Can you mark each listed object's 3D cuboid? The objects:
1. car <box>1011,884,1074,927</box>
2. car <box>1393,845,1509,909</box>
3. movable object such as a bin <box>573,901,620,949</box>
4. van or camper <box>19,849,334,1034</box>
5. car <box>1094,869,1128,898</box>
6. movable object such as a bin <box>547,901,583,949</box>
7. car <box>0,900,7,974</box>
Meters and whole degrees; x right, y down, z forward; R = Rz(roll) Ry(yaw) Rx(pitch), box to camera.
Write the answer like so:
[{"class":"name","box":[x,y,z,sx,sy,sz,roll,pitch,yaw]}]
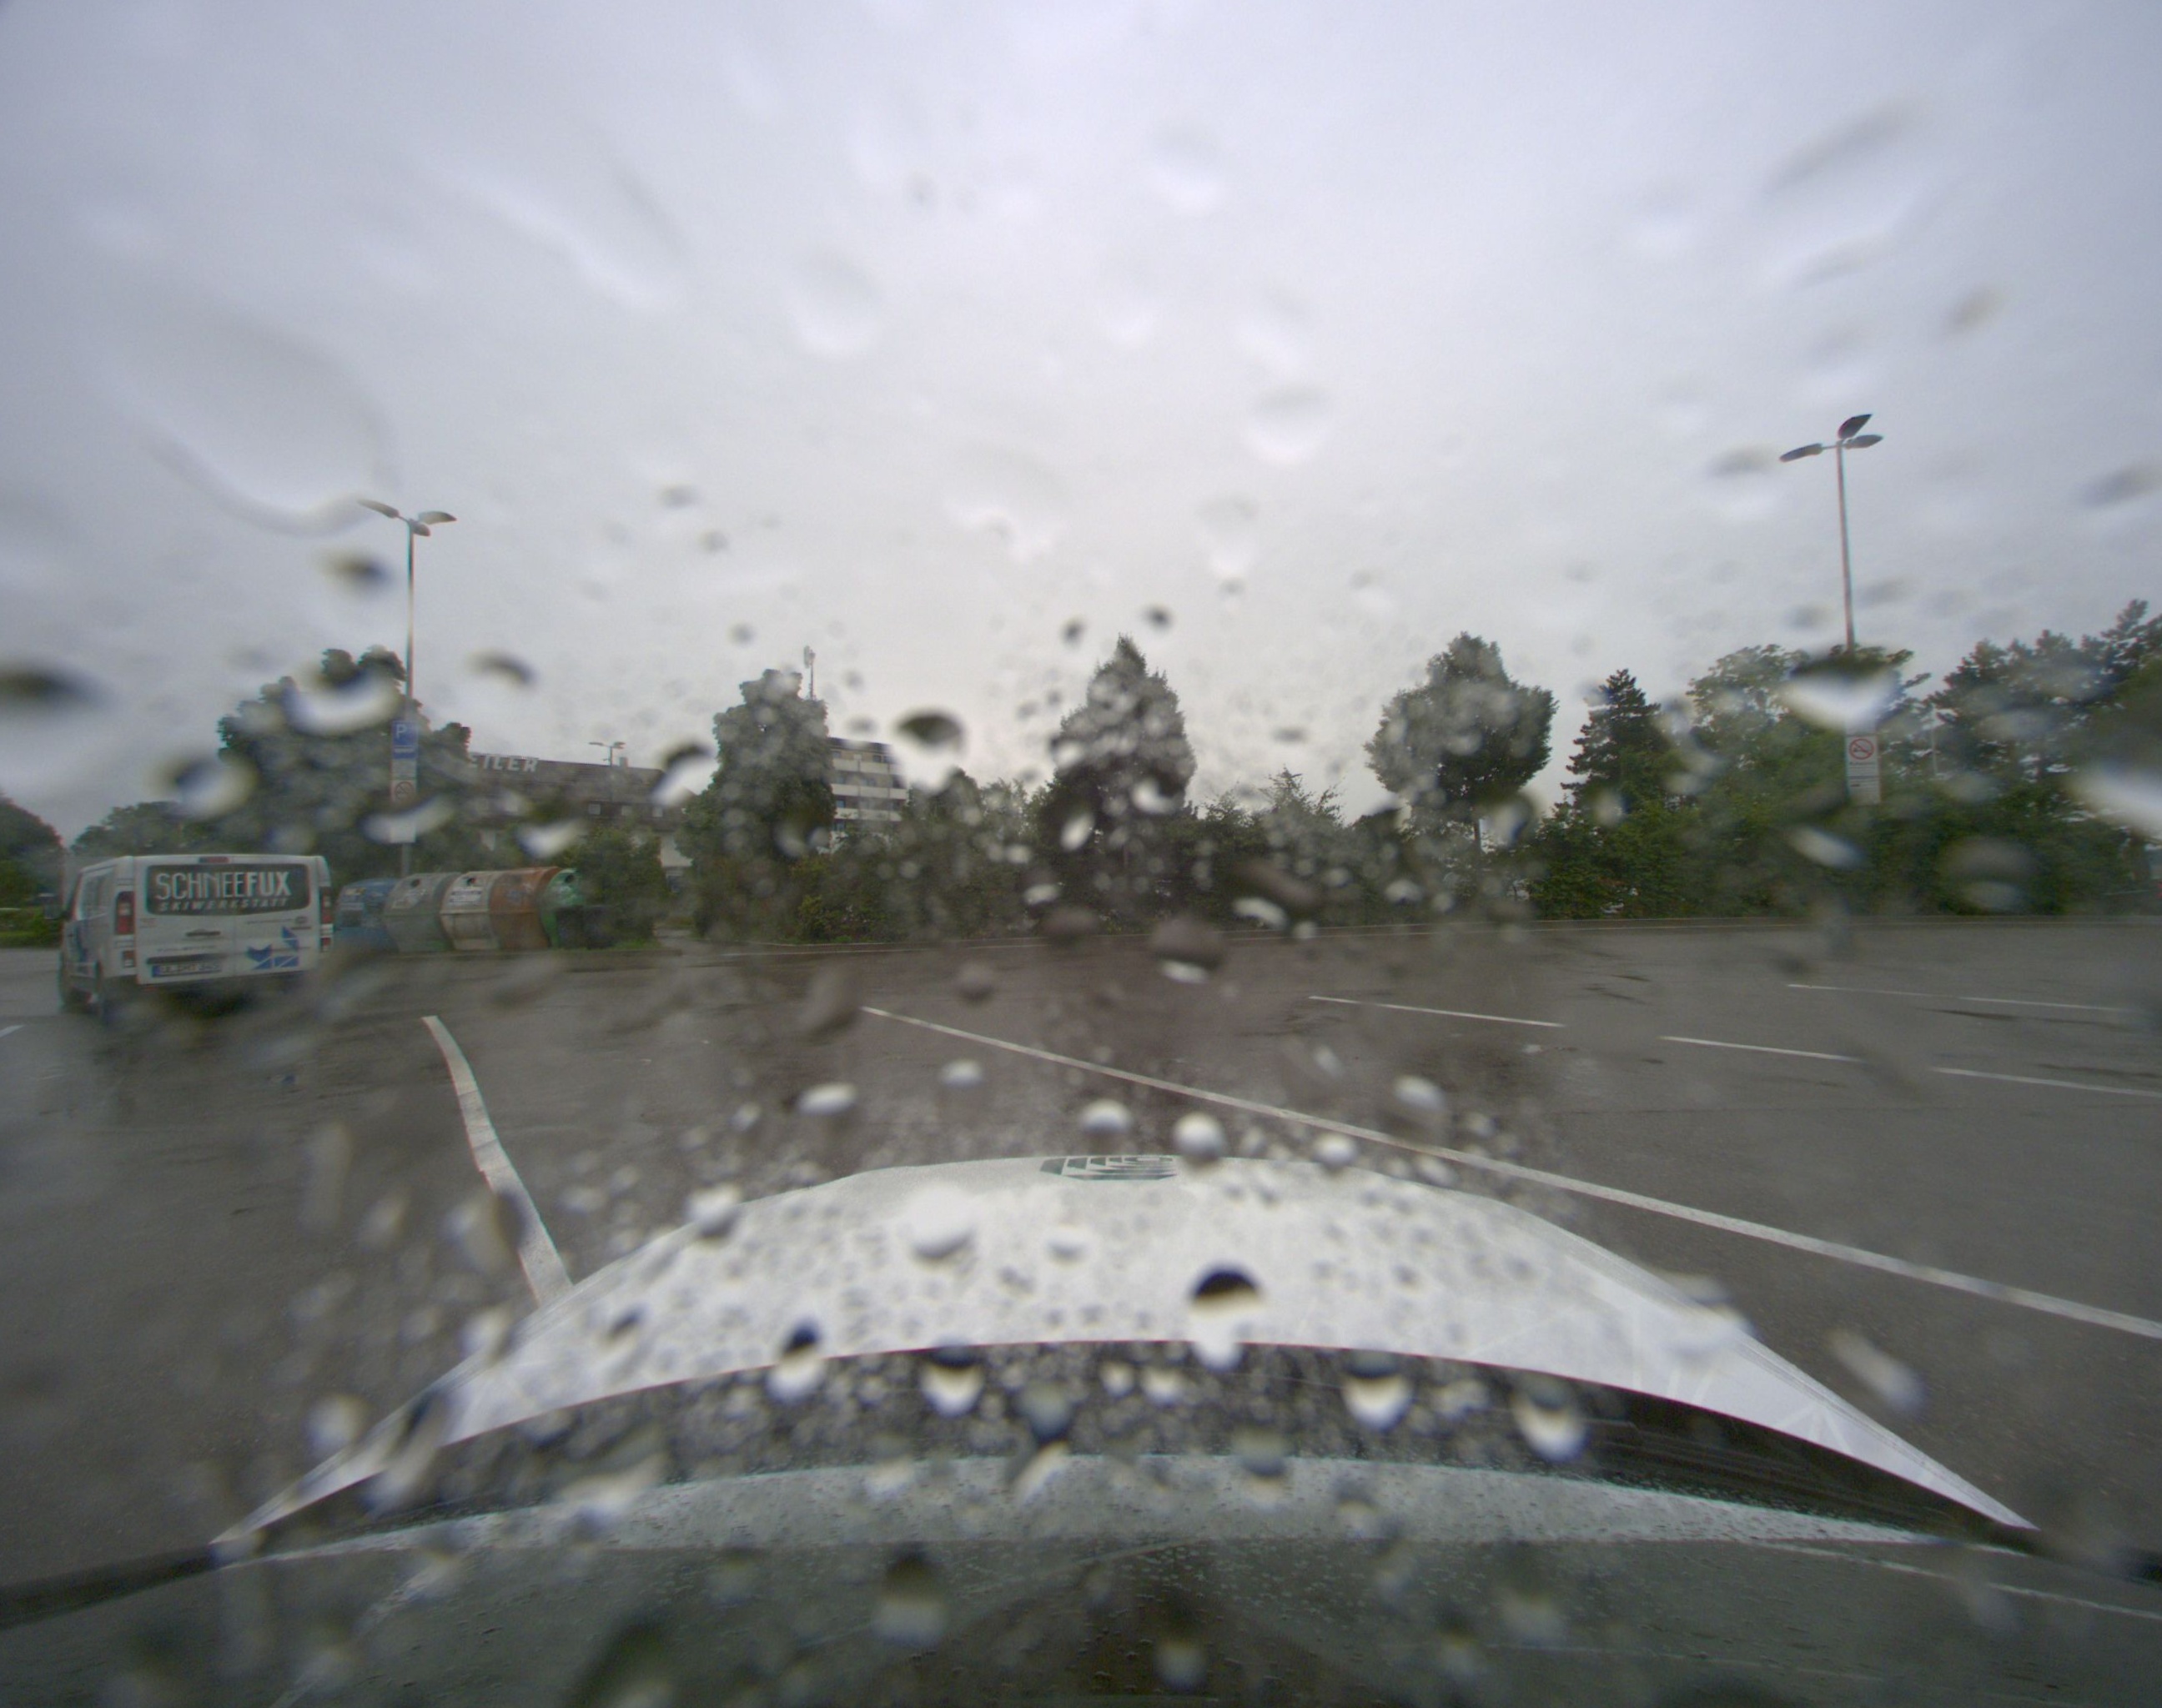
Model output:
[{"class":"car","box":[-1.456,2.002,32.675,1.871,1.472,4.774,-2,-2,5]},{"class":"car","box":[10.713,0.674,23.908,1.772,1.628,4.099,-2,-2,5]},{"class":"movable object such as a bin","box":[-9.650,1.402,16.230,0.549,0.920,0.634,-3,-2,36]},{"class":"van or camper","box":[-12.236,1.002,10.920,5.129,1.945,2.209,-2,-2,35]},{"class":"car","box":[1.934,1.818,51.296,1.784,1.693,4.056,-2,-2,7]},{"class":"movable object such as a bin","box":[-10.454,1.426,16.509,0.411,0.920,0.498,-3,-2,36]},{"class":"car","box":[-21.279,1.583,13.704,1.778,1.433,4.055,-1,-1,-17]}]
